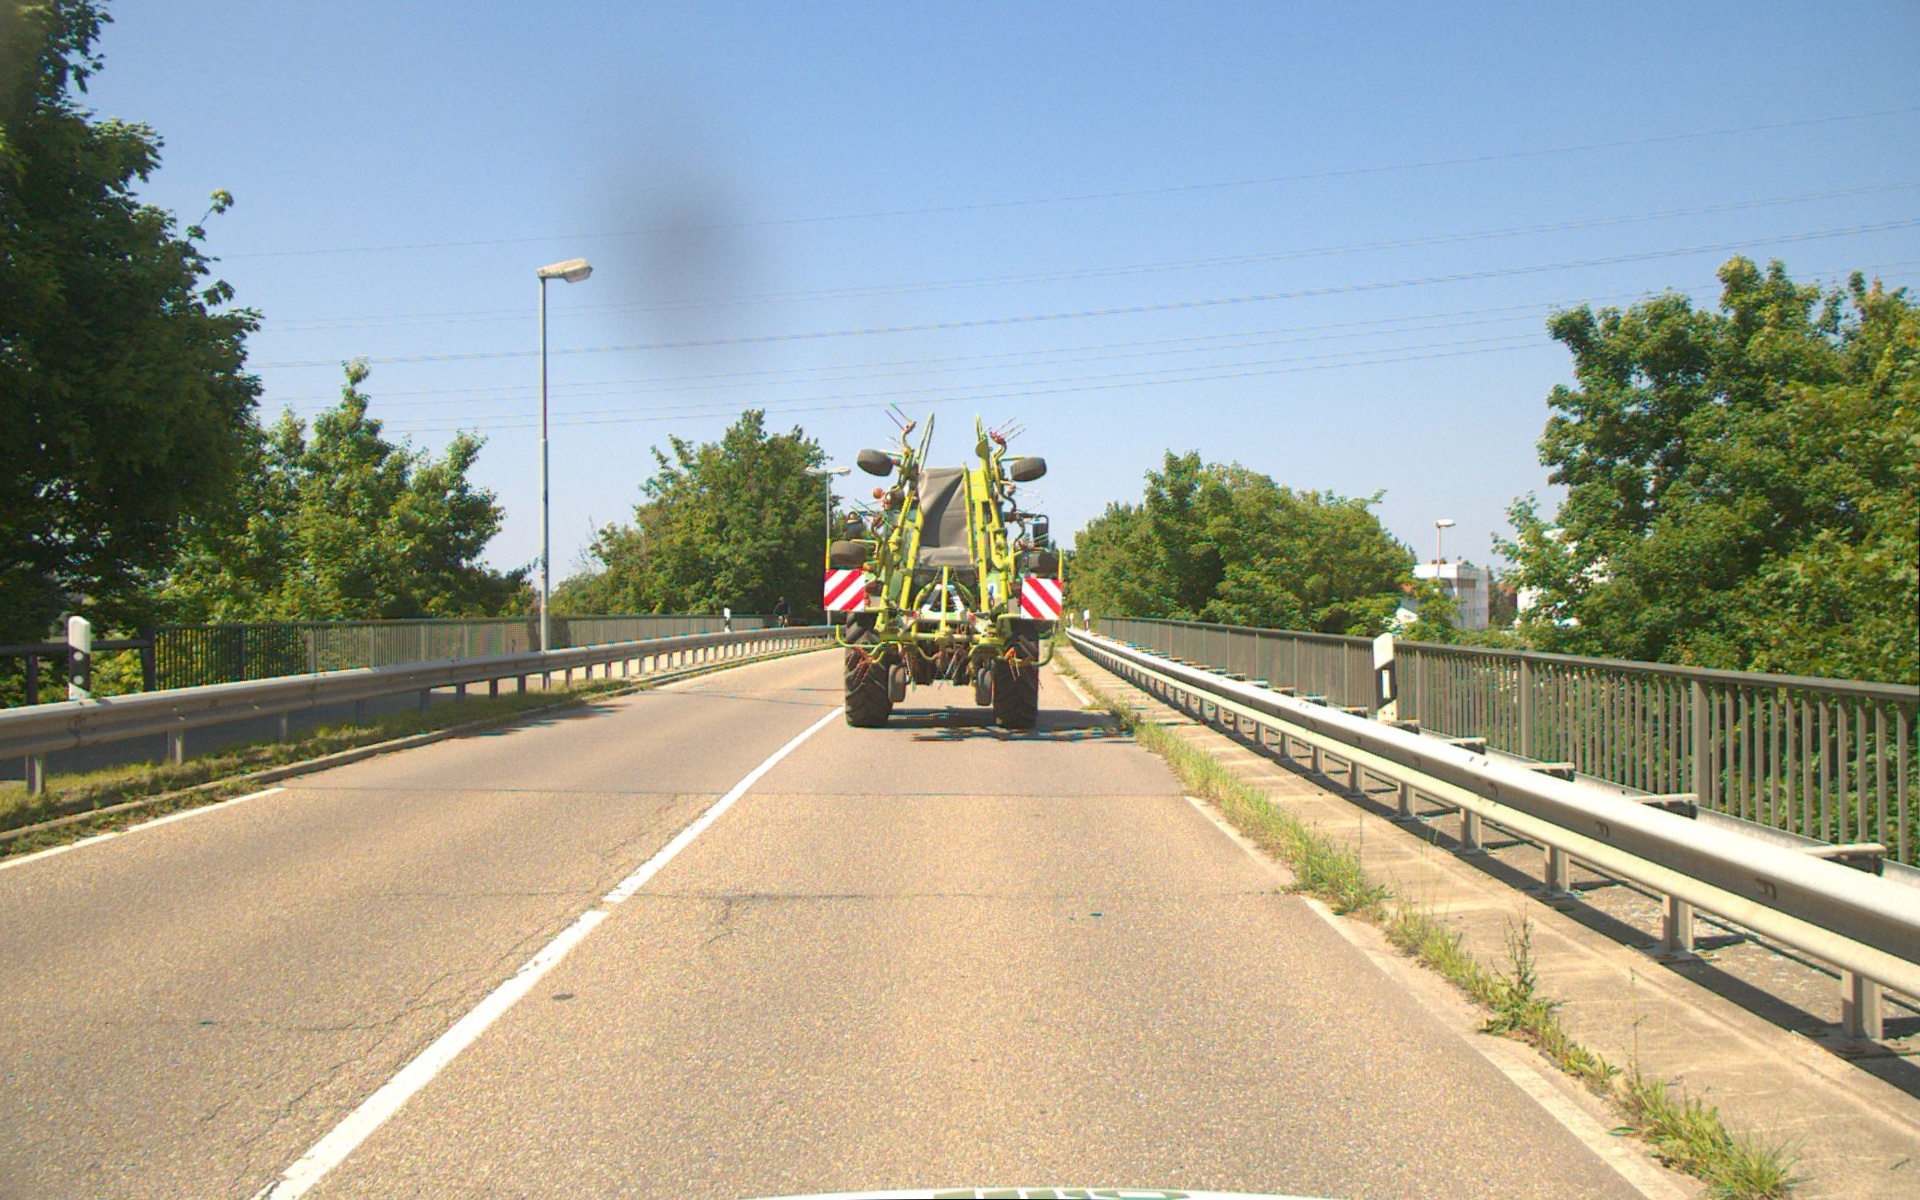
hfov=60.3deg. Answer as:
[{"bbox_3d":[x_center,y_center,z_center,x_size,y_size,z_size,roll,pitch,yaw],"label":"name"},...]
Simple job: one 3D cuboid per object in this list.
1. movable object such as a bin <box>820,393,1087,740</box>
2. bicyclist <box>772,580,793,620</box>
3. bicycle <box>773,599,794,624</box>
[{"bbox_3d":[-0.140,-0.376,19.552,2.699,3.504,5.668,0,1,-2],"label":"movable object such as a bin"},{"bbox_3d":[-7.609,0.005,70.760,0.749,1.662,0.895,-2,0,0],"label":"bicyclist"},{"bbox_3d":[-7.558,0.468,70.812,0.663,1.019,2.119,-2,1,0],"label":"bicycle"}]
